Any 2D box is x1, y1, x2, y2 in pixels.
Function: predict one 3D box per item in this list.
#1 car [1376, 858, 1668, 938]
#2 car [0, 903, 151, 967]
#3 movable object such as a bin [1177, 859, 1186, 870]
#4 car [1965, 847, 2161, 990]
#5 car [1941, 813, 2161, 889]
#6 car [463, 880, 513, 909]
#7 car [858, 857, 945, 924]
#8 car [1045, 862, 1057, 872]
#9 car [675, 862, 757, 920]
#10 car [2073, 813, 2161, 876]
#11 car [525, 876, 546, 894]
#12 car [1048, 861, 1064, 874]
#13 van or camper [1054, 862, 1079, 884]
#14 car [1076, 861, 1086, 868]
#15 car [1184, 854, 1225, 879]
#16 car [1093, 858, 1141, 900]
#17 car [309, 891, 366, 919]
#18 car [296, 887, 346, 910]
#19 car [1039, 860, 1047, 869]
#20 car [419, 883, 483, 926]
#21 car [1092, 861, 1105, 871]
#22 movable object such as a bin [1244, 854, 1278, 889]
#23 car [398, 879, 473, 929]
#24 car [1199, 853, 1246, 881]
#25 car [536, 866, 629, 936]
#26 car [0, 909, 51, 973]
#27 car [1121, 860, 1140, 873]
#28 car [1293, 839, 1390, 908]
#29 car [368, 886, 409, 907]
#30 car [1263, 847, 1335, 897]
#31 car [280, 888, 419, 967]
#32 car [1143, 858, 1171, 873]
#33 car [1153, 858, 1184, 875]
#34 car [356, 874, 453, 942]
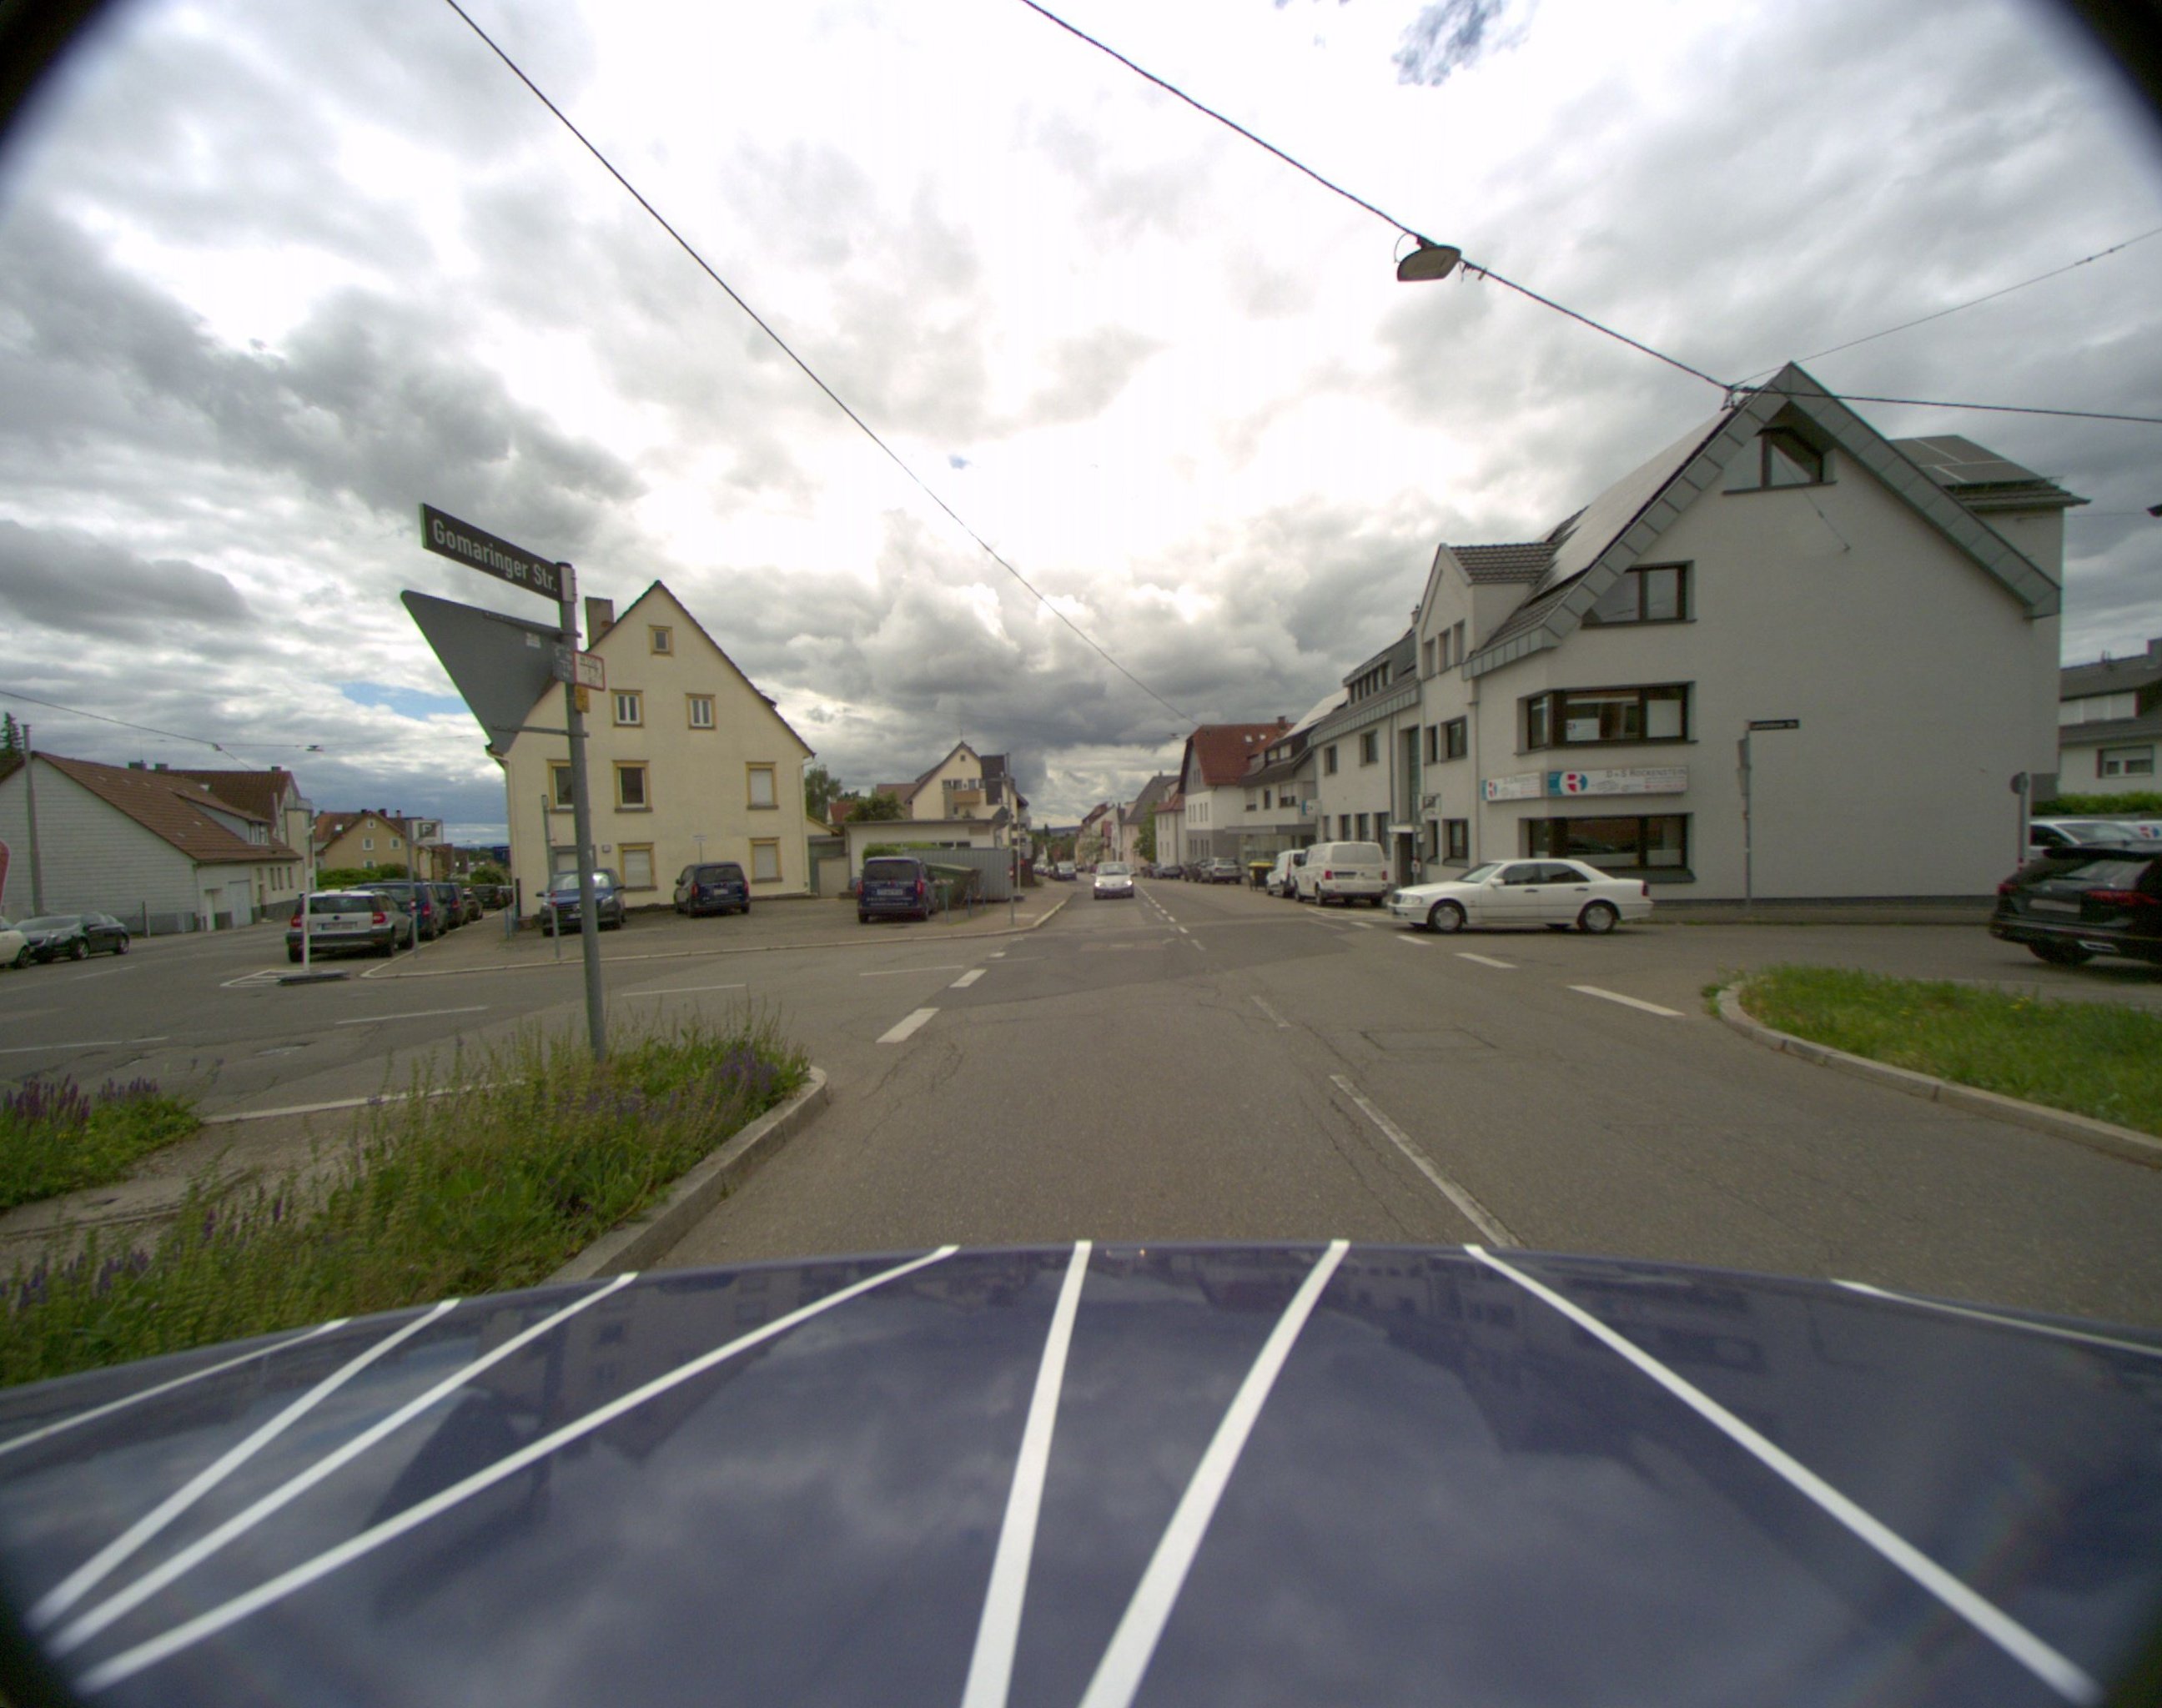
[{"bbox_3d":[8.451,0.813,14.988,4.562,1.437,2.001,0,0,8],"label":"car"},{"bbox_3d":[-30.367,2.370,22.921,1.725,1.586,3.991,-4,0,-33],"label":"car"},{"bbox_3d":[10.165,1.064,76.789,0.679,1.039,0.758,-4,0,-5],"label":"movable object such as a bin"},{"bbox_3d":[13.882,0.734,9.087,4.052,1.581,1.804,1,2,10],"label":"car"},{"bbox_3d":[26.652,-0.114,20.970,1.897,1.840,3.907,-2,1,12],"label":"car"},{"bbox_3d":[-40.527,2.774,52.039,2.285,1.720,3.991,-4,0,-33],"label":"car"},{"bbox_3d":[-5.088,0.971,22.066,1.751,1.729,4.570,-1,0,-4],"label":"car"},{"bbox_3d":[-4.890,2.128,121.953,1.614,1.446,3.858,-4,0,-5],"label":"car"},{"bbox_3d":[-12.546,1.247,25.958,1.872,1.718,3.991,-4,0,-34],"label":"car"},{"bbox_3d":[35.643,-0.370,24.487,4.049,1.909,1.806,-3,1,27],"label":"car"},{"bbox_3d":[-69.159,3.966,96.387,2.003,2.002,3.991,-4,0,-36],"label":"car"},{"bbox_3d":[-3.062,1.612,92.930,1.614,1.446,3.858,-4,0,-5],"label":"car"},{"bbox_3d":[-1.472,1.939,77.131,1.999,2.002,5.062,-5,0,-5],"label":"van or camper"},{"bbox_3d":[0.019,2.233,159.192,1.707,1.523,3.734,1,0,-5],"label":"car"},{"bbox_3d":[8.553,0.843,53.120,1.843,1.623,4.407,-1,0,-4],"label":"car"},{"bbox_3d":[1.508,1.043,33.493,1.721,1.586,3.999,-4,0,-2],"label":"car"},{"bbox_3d":[-49.170,3.347,50.341,1.879,1.586,3.892,-4,0,-33],"label":"car"},{"bbox_3d":[-58.698,3.429,58.777,1.879,1.586,3.892,-4,0,-33],"label":"car"},{"bbox_3d":[-8.453,2.364,167.835,1.614,1.789,3.858,-4,0,-5],"label":"car"},{"bbox_3d":[-28.830,2.259,34.868,1.725,1.720,3.991,-4,0,-33],"label":"car"},{"bbox_3d":[2.810,1.880,121.258,1.707,1.523,3.734,1,0,-5],"label":"car"},{"bbox_3d":[8.512,0.829,36.058,1.143,1.623,1.562,-1,0,-4],"label":"movable object such as a bin"},{"bbox_3d":[-25.804,1.972,30.486,1.725,1.720,3.991,-4,0,-33],"label":"car"},{"bbox_3d":[8.784,0.813,47.577,1.843,1.623,4.407,-1,0,-4],"label":"car"},{"bbox_3d":[-15.133,1.377,23.320,1.905,1.792,4.883,-4,0,-29],"label":"car"},{"bbox_3d":[-27.913,2.271,18.768,1.629,1.466,3.759,-3,2,-32],"label":"car"},{"bbox_3d":[5.870,1.433,89.982,1.654,1.438,3.810,-1,0,-4],"label":"car"},{"bbox_3d":[8.166,0.570,24.282,1.816,1.994,4.765,0,0,4],"label":"car"},{"bbox_3d":[-59.046,3.610,64.847,1.879,1.586,3.892,-4,0,-33],"label":"car"},{"bbox_3d":[8.458,0.661,29.817,1.737,1.821,4.298,0,0,2],"label":"car"},{"bbox_3d":[-18.205,1.750,19.111,1.778,1.608,3.991,-4,0,-35],"label":"car"},{"bbox_3d":[7.345,1.135,73.835,1.843,1.436,3.998,0,0,-7],"label":"car"},{"bbox_3d":[7.670,1.123,66.816,1.843,1.436,4.466,0,0,-4],"label":"car"},{"bbox_3d":[-21.638,1.676,24.467,1.778,1.931,4.314,-1,-2,-35],"label":"car"}]
